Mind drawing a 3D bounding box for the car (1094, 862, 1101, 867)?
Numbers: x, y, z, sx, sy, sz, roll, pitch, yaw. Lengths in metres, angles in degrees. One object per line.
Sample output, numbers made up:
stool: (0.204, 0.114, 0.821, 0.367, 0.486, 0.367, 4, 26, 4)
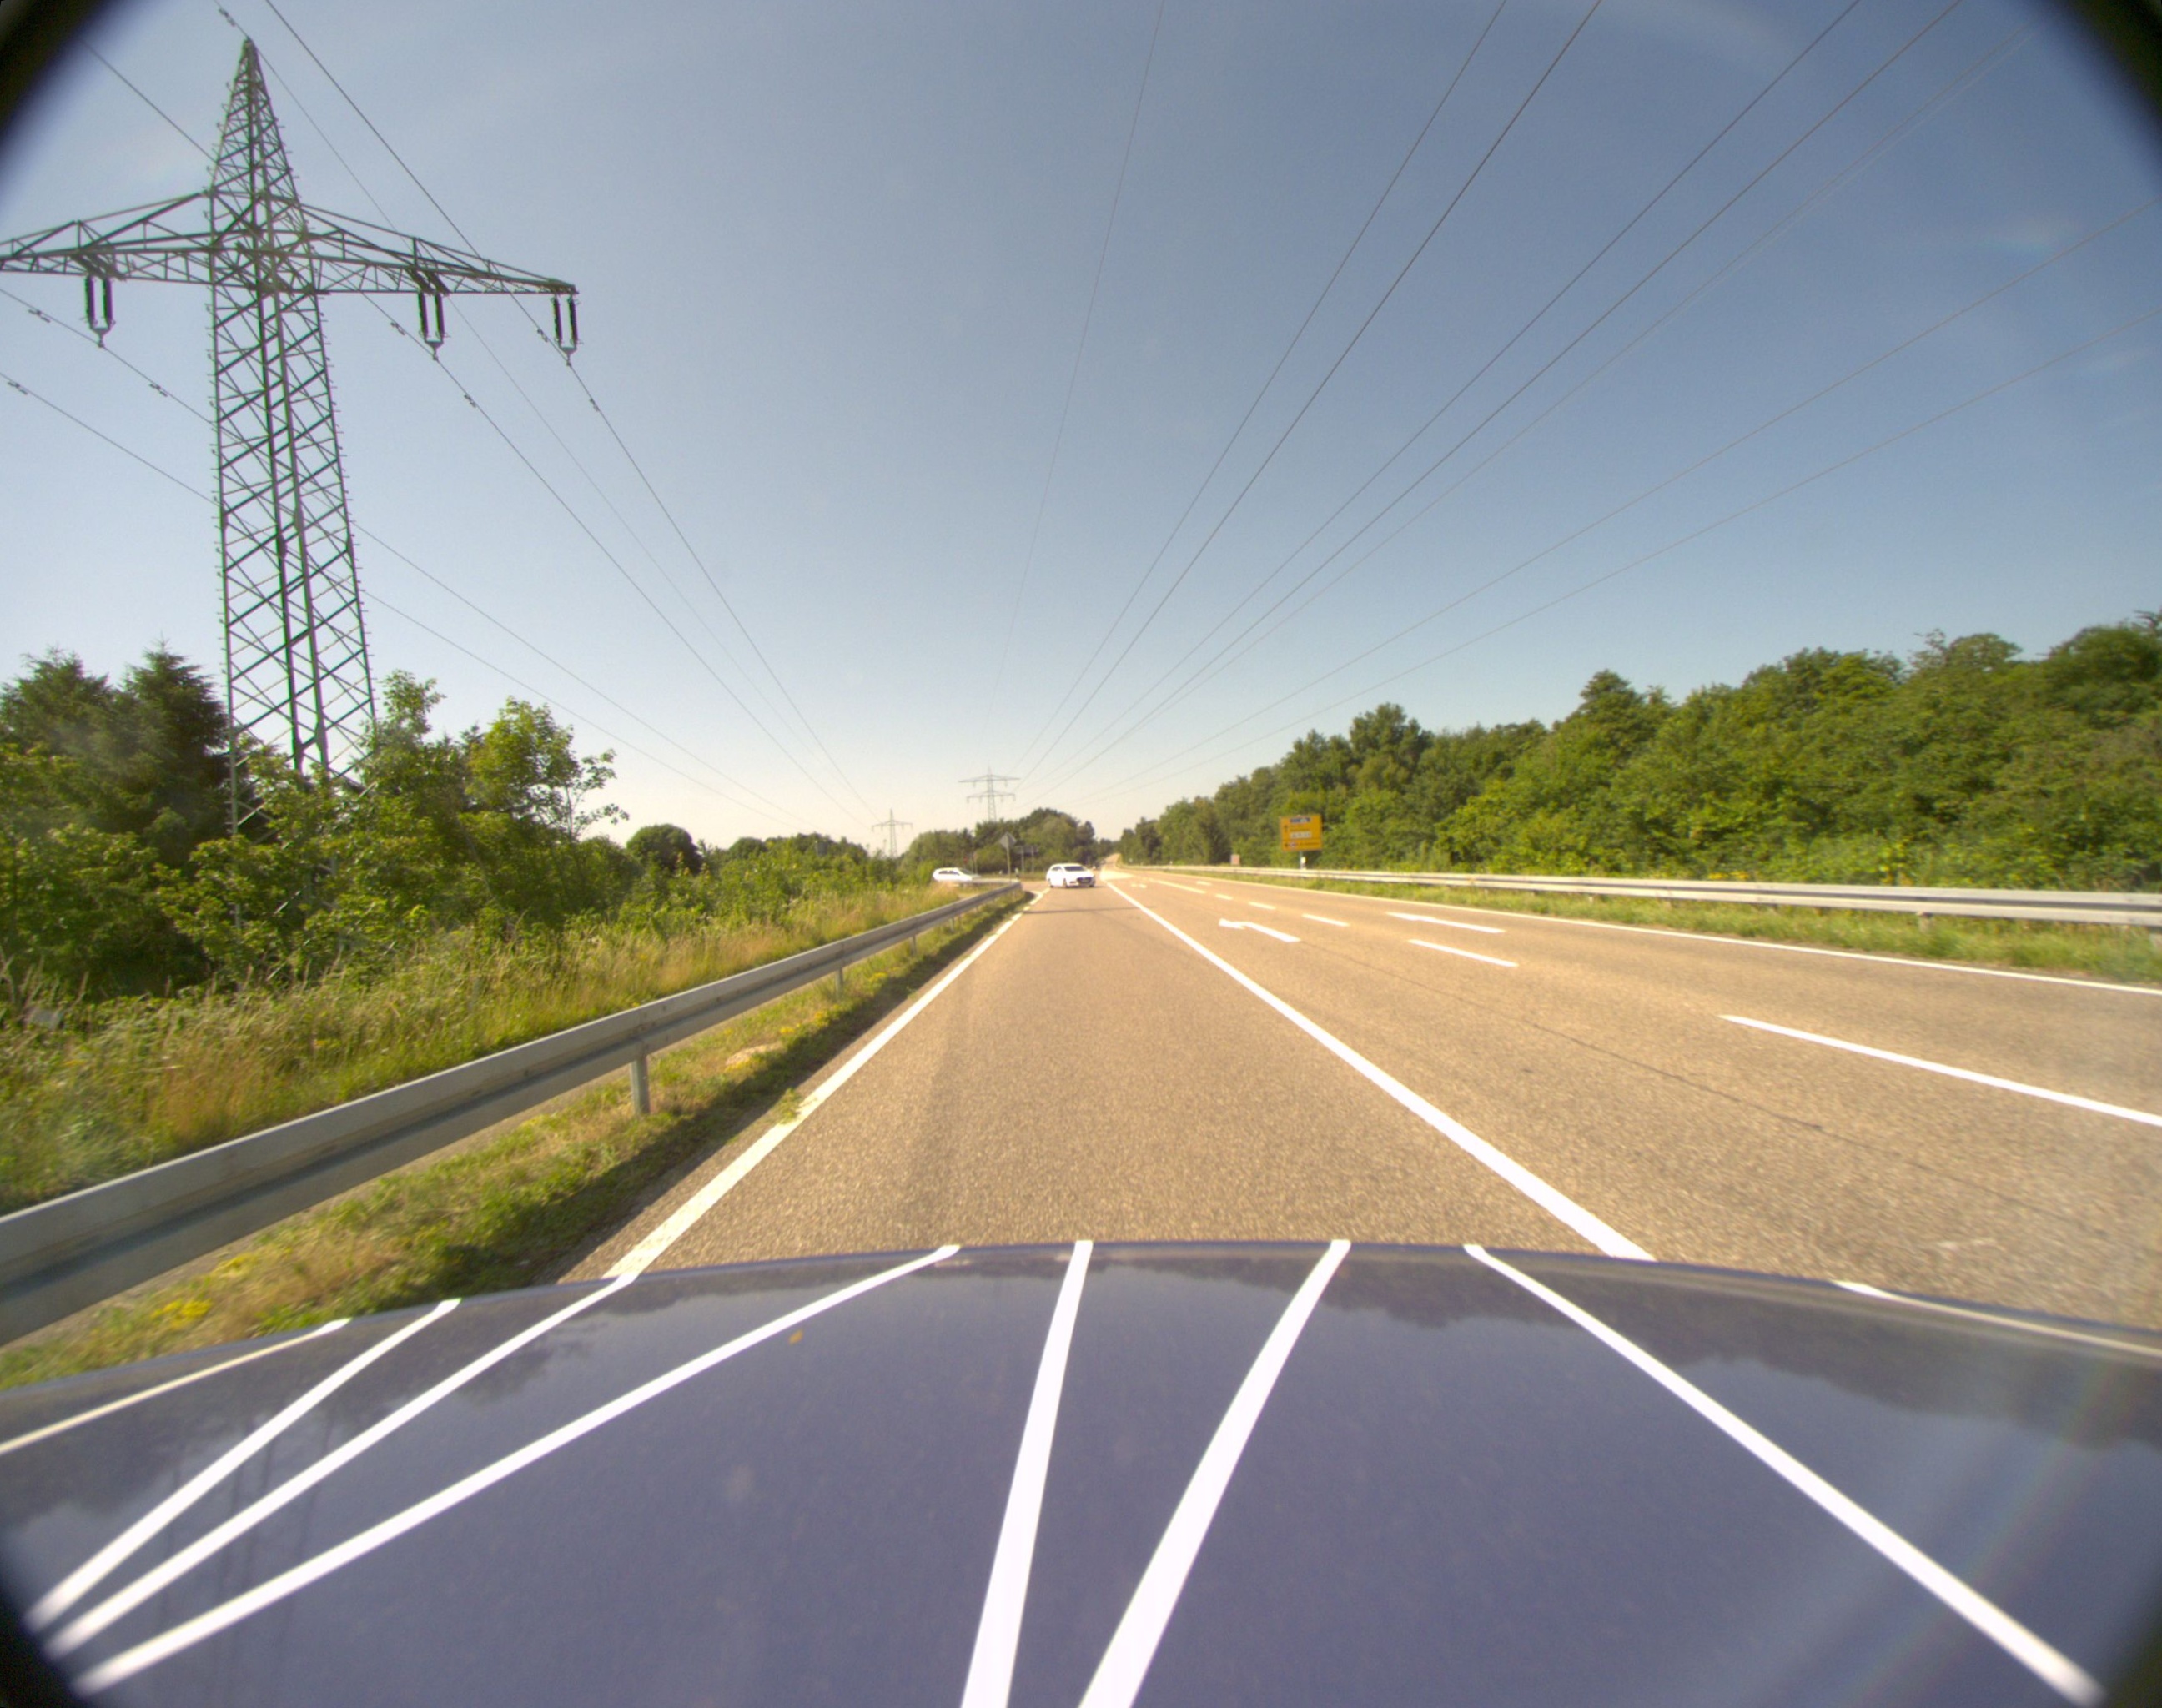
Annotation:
car: (3.787, 2.443, 175.697, 1.511, 1.237, 3.074, -2, 0, 1)

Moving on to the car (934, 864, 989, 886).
car: (-8.776, 1.523, 55.638, 3.653, 1.460, 1.552, -3, 0, 22)

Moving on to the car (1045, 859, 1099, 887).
car: (-0.613, 1.152, 46.779, 1.686, 1.472, 4.465, -5, 1, -23)
